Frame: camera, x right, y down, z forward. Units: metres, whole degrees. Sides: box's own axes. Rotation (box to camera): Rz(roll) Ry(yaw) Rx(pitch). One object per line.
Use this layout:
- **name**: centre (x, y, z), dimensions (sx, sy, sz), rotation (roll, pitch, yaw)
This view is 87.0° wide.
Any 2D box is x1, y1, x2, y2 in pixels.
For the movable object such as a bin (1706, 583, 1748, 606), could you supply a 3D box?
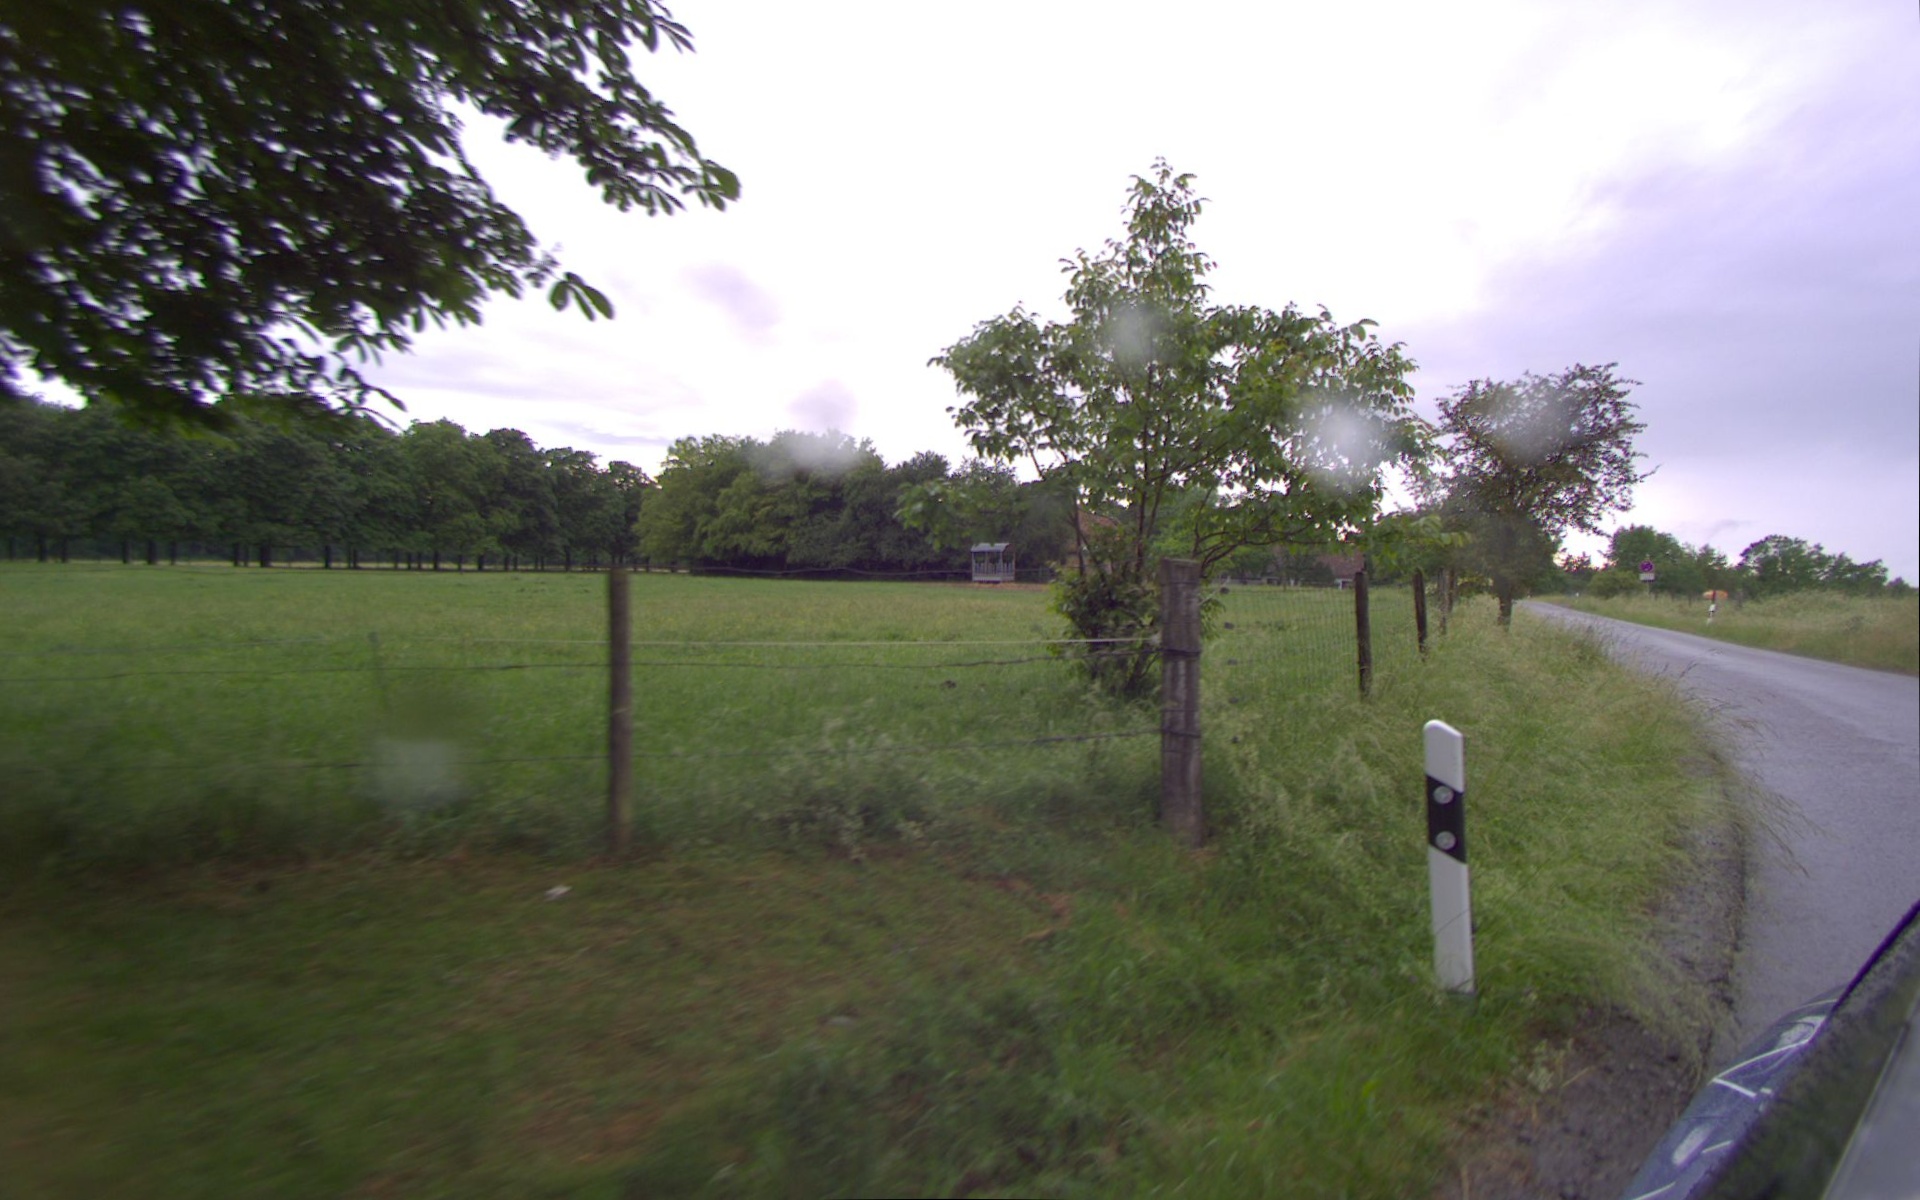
- **movable object such as a bin**: centre (56.010, -0.437, 73.925), dimensions (1.667, 1.590, 3.508), rotation (2, 2, 25)
